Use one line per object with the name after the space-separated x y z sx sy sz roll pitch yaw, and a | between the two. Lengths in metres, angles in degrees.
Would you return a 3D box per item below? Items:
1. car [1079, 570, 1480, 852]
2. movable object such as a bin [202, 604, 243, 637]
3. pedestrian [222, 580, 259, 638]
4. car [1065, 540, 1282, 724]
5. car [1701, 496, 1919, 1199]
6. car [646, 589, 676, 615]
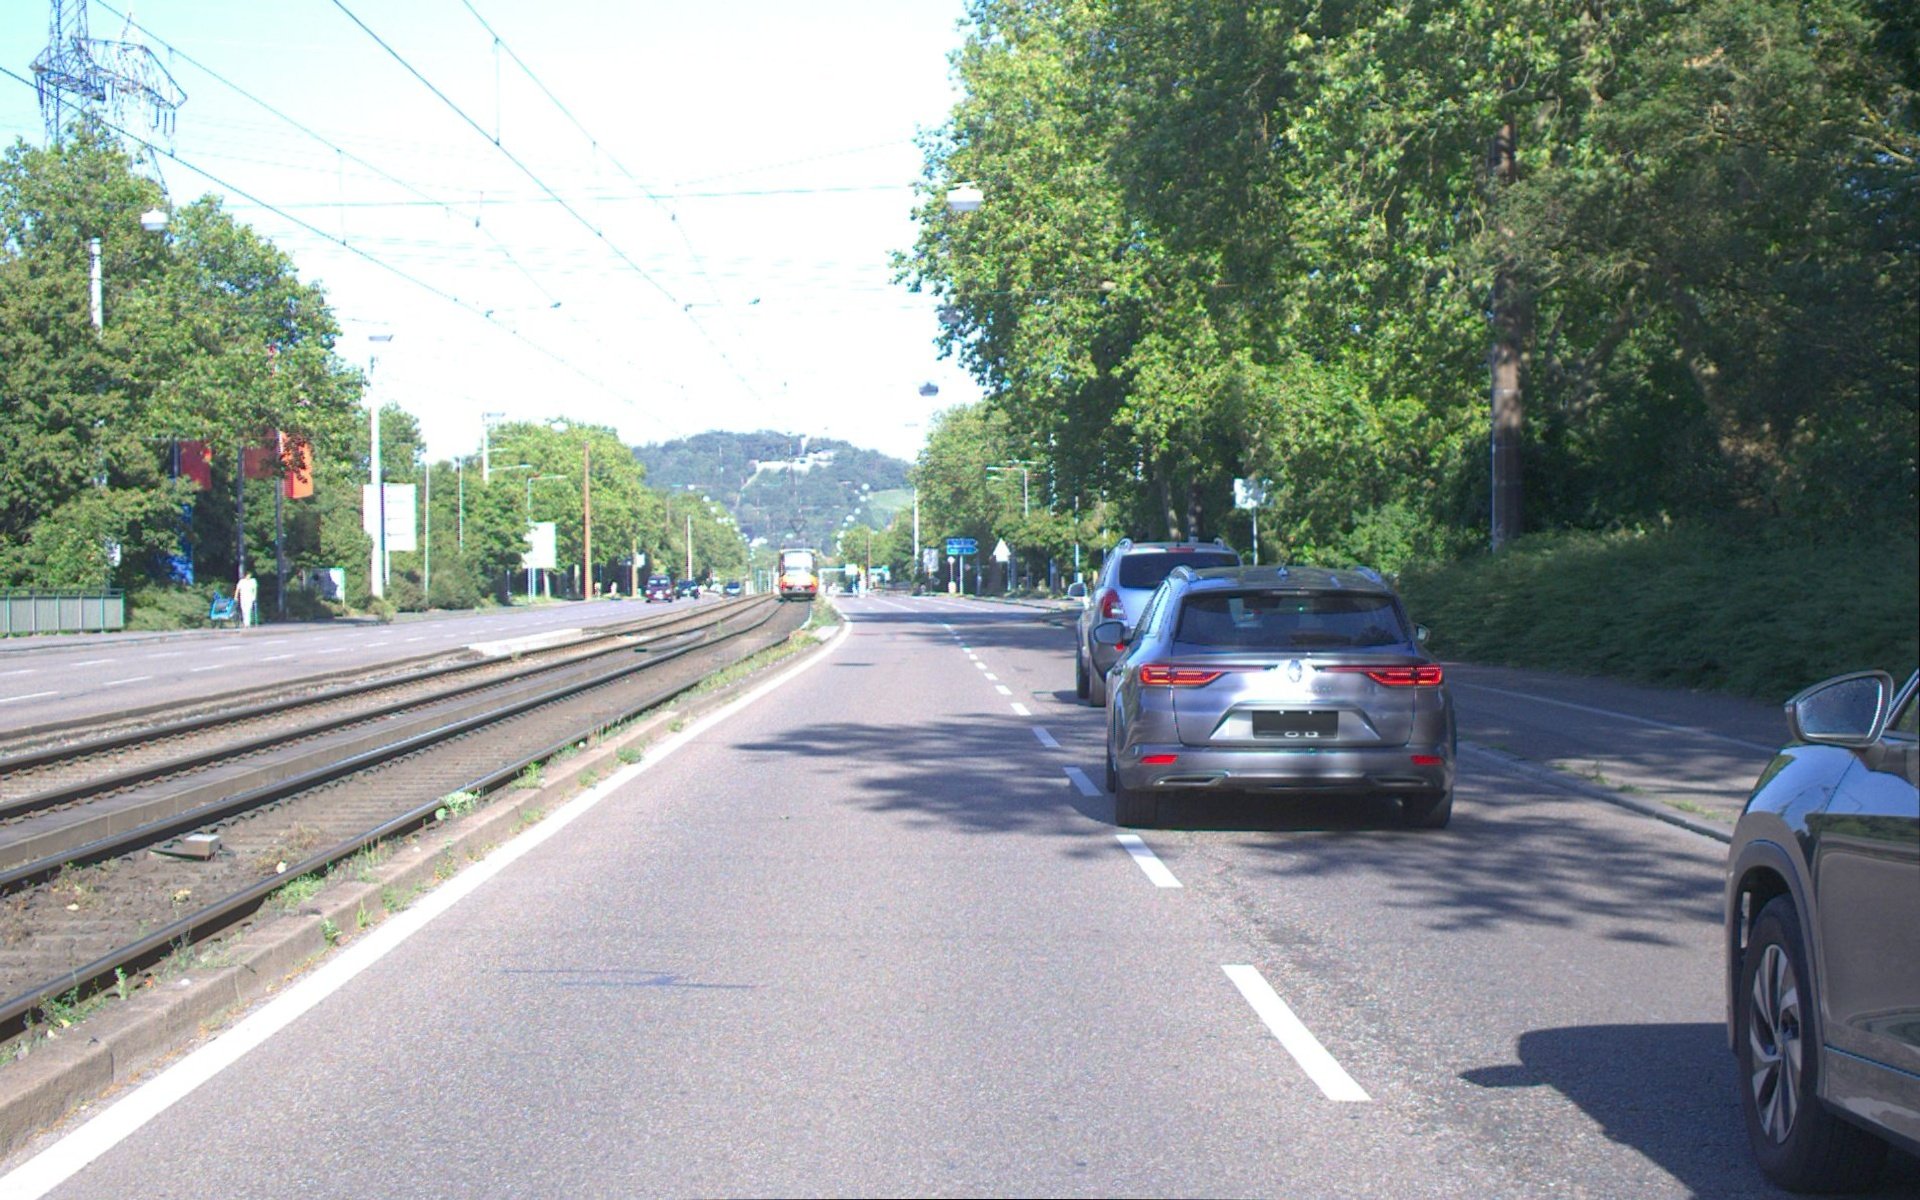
1.747 0.568 20.258 1.866 1.462 4.666 0 0 -1 | car
-22.547 0.630 105.161 0.725 0.958 1.100 2 -1 21 | movable object such as a bin
-22.197 0.283 106.064 0.725 1.750 0.834 2 -1 21 | pedestrian
2.204 0.285 36.501 1.883 1.789 4.000 2 1 -2 | car
2.850 0.635 6.493 1.844 1.655 4.440 1 0 -1 | car
-20.429 0.150 235.049 1.862 1.714 4.000 0 1 -2 | car
